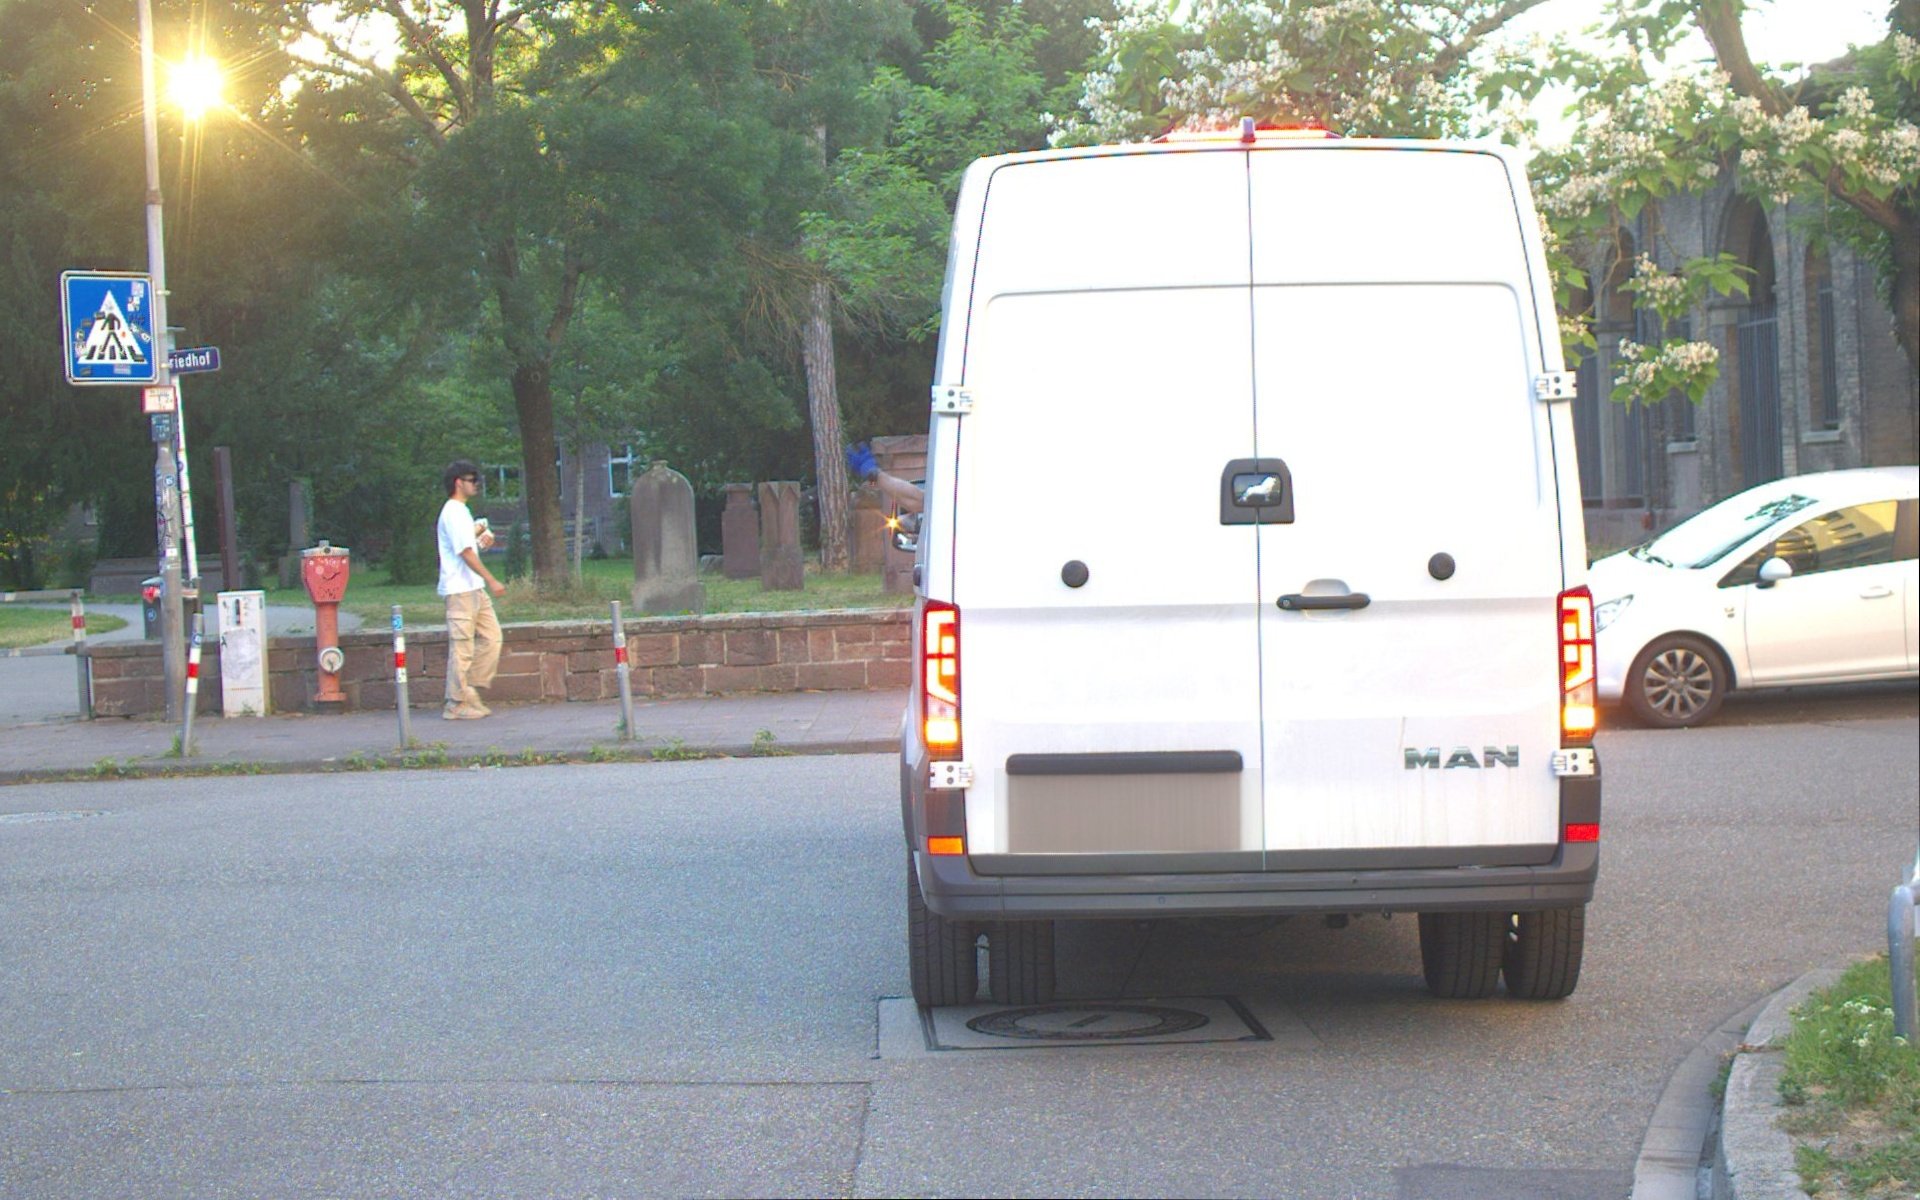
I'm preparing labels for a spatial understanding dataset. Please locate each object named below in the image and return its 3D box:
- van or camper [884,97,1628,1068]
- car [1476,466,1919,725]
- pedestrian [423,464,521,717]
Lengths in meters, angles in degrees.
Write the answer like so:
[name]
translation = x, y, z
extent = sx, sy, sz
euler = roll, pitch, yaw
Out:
[van or camper]
translation = 0.858, -0.112, 12.460
extent = 1.993, 2.609, 6.403
euler = 0, 1, 1
[car]
translation = 5.538, -0.077, 22.709
extent = 3.854, 1.568, 1.958
euler = -2, 2, -3
[pedestrian]
translation = -3.534, -0.077, 24.934
extent = 0.593, 1.803, 0.621
euler = -1, 1, 0
